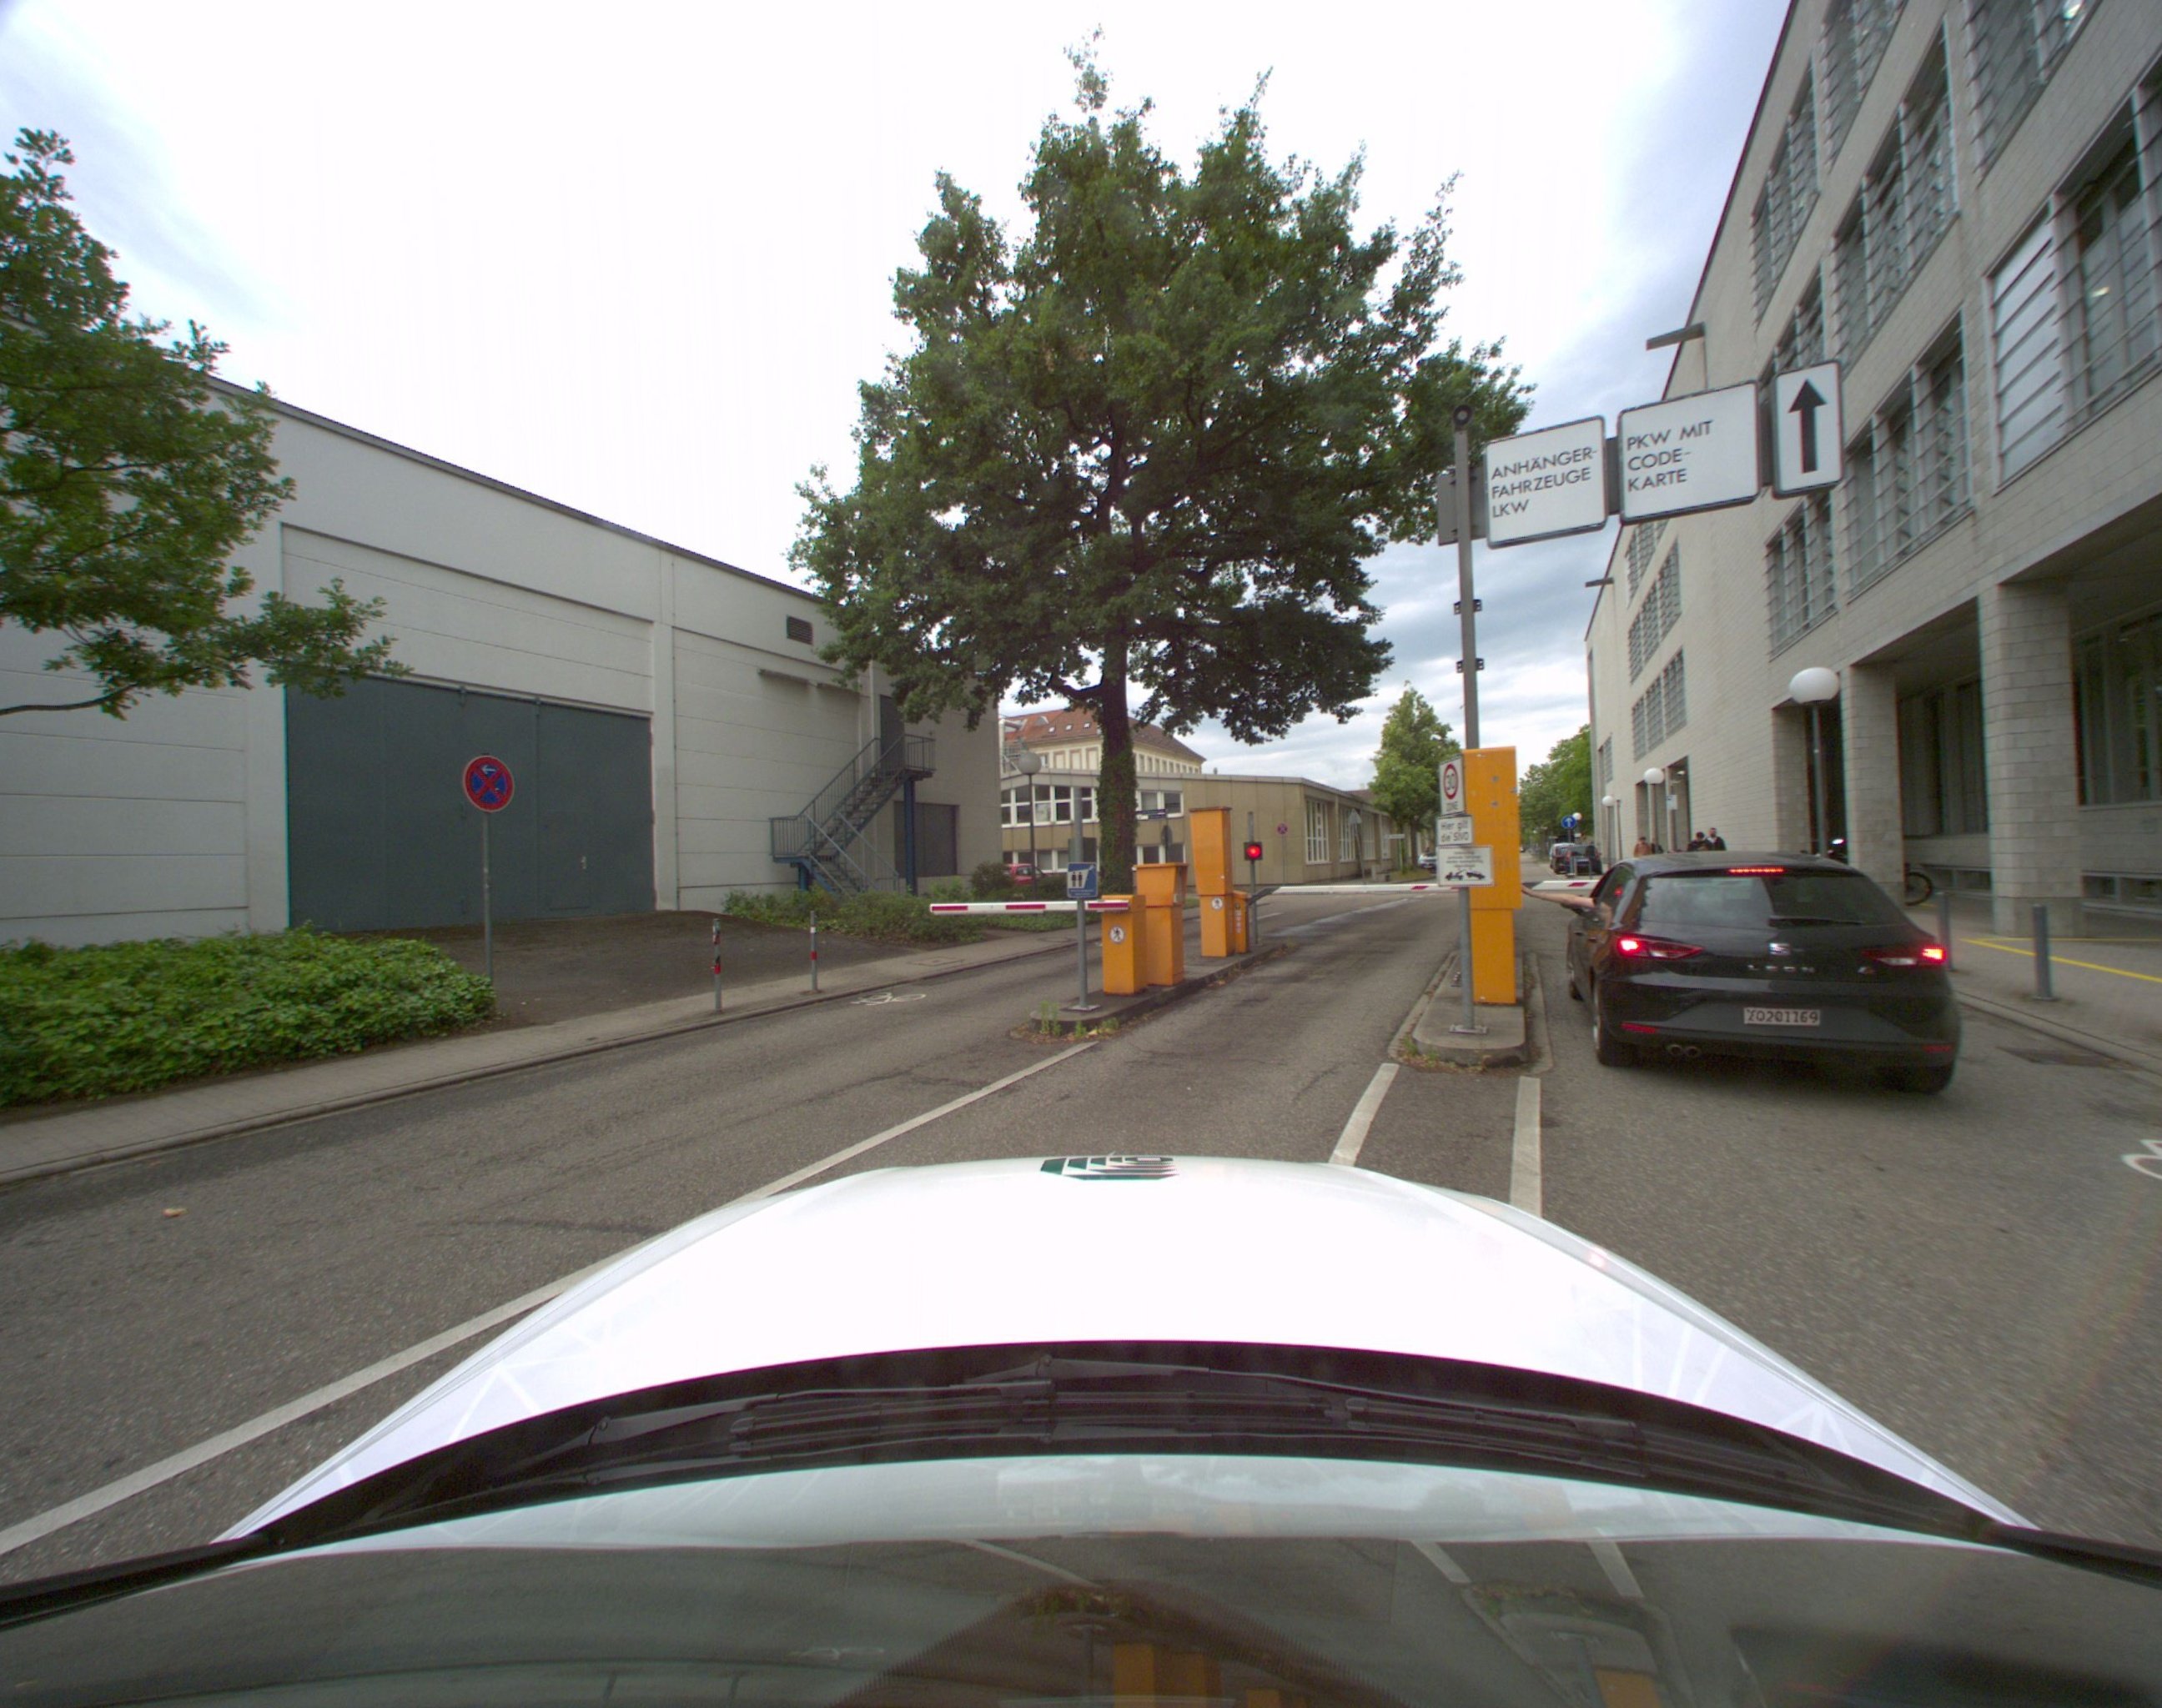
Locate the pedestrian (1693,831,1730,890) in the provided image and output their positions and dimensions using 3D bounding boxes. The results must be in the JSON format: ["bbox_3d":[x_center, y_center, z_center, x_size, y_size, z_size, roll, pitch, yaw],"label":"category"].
[{"bbox_3d":[18.586,0.182,24.024,0.721,1.698,0.591,-1,2,23],"label":"pedestrian"}]

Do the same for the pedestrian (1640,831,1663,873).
[{"bbox_3d":[23.489,-0.069,33.536,0.689,1.714,0.492,-2,-1,33],"label":"pedestrian"}]

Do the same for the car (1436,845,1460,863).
[{"bbox_3d":[35.345,-0.003,78.386,1.753,1.601,4.024,-2,0,28],"label":"car"}]

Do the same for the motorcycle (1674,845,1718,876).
[{"bbox_3d":[25.499,0.254,33.729,2.675,1.148,0.753,-4,2,-37],"label":"motorcycle"}]

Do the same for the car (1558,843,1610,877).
[{"bbox_3d":[26.656,0.302,43.260,1.975,1.623,4.454,-3,-2,28],"label":"car"}]

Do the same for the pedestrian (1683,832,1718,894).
[{"bbox_3d":[17.529,0.255,23.044,0.683,1.698,0.592,-1,2,29],"label":"pedestrian"}]

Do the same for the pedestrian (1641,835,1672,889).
[{"bbox_3d":[18.530,0.251,26.224,0.690,1.714,0.492,-2,-1,24],"label":"pedestrian"}]

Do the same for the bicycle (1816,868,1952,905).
[{"bbox_3d":[15.985,0.647,16.266,1.879,0.698,0.496,-1,2,25],"label":"bicycle"}]

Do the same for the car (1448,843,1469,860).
[{"bbox_3d":[38.455,-0.248,82.996,1.753,1.601,4.024,-2,0,26],"label":"car"}]

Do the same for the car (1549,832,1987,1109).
[{"bbox_3d":[4.807,0.596,6.416,1.765,1.419,4.155,-2,0,28],"label":"car"}]

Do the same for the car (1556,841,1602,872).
[{"bbox_3d":[28.824,0.116,47.268,1.974,1.623,4.455,-4,-1,28],"label":"car"}]

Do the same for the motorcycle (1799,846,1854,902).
[{"bbox_3d":[17.477,0.435,19.075,2.227,1.148,0.561,-4,2,-37],"label":"motorcycle"}]

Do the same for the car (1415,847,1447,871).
[{"bbox_3d":[24.919,0.339,57.955,1.753,1.601,4.024,-2,0,27],"label":"car"}]

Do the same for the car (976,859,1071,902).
[{"bbox_3d":[-2.192,1.008,32.053,1.845,1.530,4.024,-2,0,28],"label":"car"}]

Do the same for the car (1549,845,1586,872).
[{"bbox_3d":[34.898,0.298,58.501,1.974,1.782,4.455,-4,-1,28],"label":"car"}]

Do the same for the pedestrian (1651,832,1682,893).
[{"bbox_3d":[16.894,0.245,23.517,0.605,1.714,0.578,-3,-1,31],"label":"pedestrian"}]
